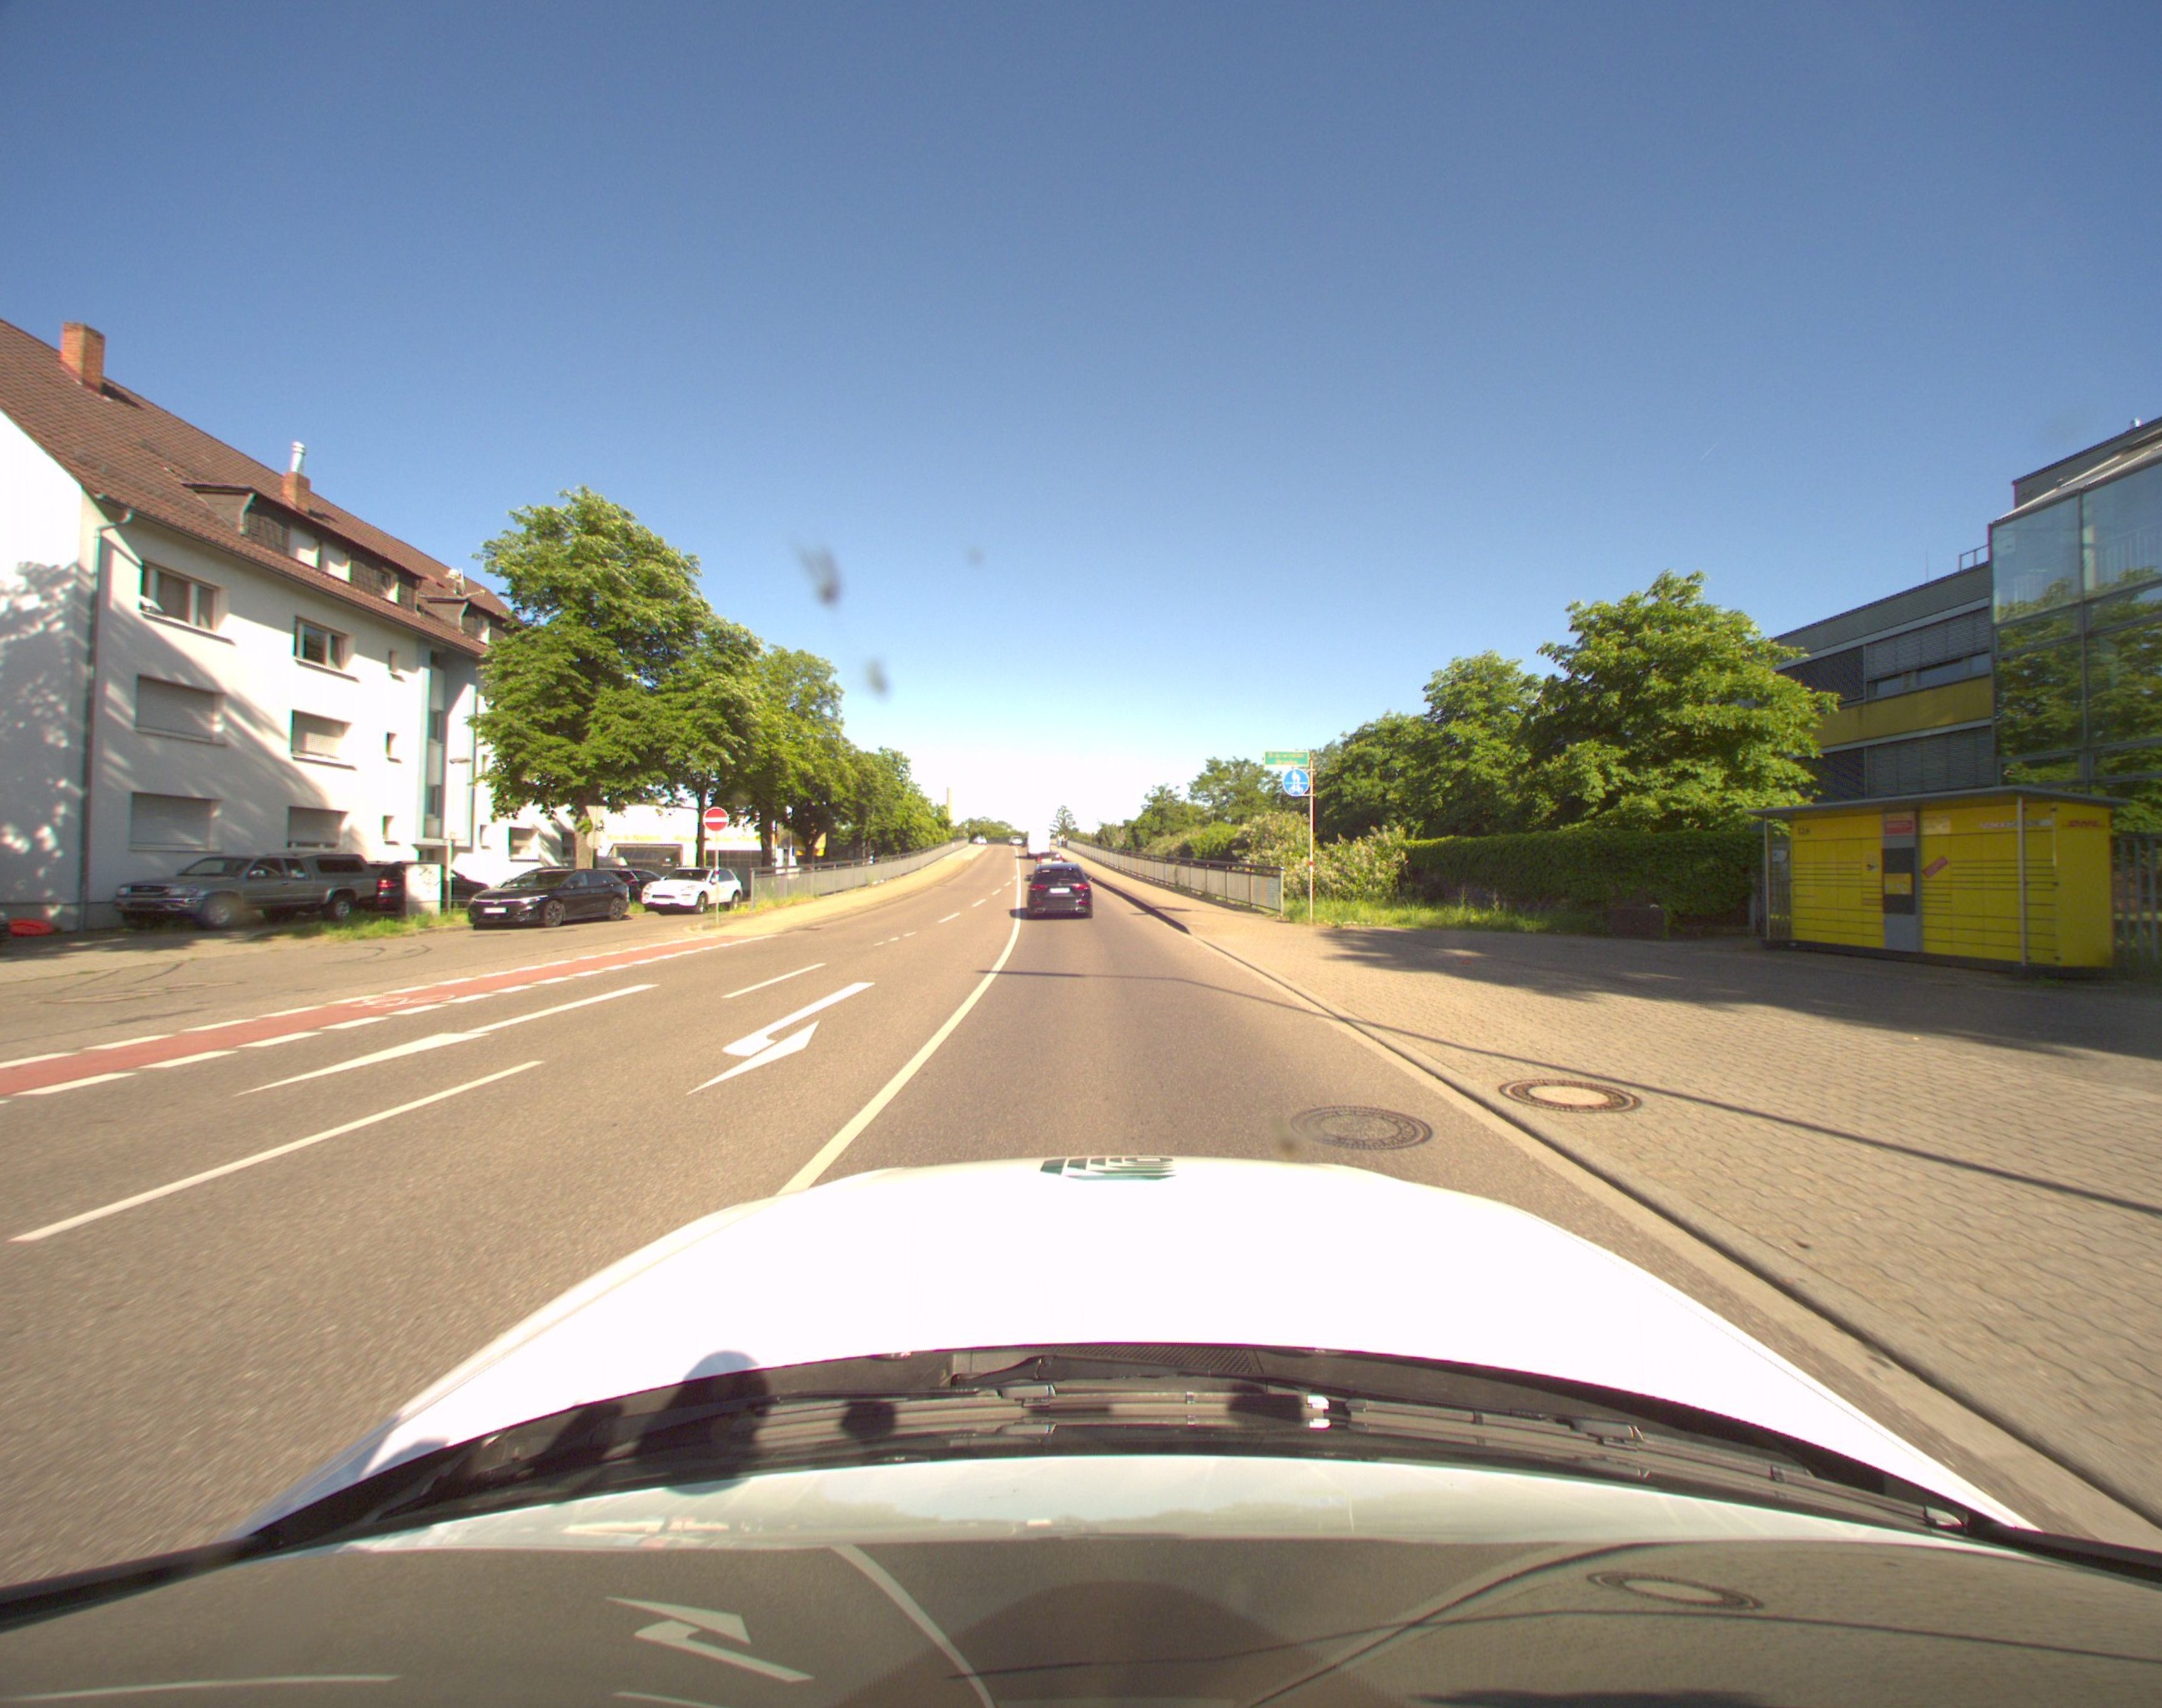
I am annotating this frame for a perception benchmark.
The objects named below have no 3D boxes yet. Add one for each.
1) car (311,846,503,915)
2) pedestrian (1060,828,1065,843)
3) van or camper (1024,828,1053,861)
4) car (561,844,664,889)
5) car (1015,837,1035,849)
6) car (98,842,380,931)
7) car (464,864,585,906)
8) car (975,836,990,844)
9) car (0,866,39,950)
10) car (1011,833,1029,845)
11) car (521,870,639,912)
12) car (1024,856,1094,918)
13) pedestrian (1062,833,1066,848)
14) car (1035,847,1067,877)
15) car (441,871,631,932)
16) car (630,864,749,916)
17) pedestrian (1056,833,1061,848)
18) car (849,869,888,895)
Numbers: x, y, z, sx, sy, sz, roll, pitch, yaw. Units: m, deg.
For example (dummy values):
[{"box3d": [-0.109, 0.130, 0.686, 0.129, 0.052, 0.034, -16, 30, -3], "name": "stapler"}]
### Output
[{"box3d": [-20.724, 0.805, 25.391, 2.065, 1.930, 4.781, 1, -1, -3], "name": "car"}, {"box3d": [-2.228, -2.280, 99.469, 0.548, 1.750, 0.737, 1, -1, -5], "name": "pedestrian"}, {"box3d": [-3.911, -0.785, 73.595, 2.224, 2.739, 7.063, 1, -1, -6], "name": "van or camper"}, {"box3d": [-28.081, 0.734, 49.133, 2.117, 2.561, 5.905, -1, -1, 9], "name": "car"}, {"box3d": [-7.635, -1.542, 112.250, 1.908, 1.489, 4.279, -1, -2, 8], "name": "car"}, {"box3d": [-20.515, 0.754, 20.282, 1.742, 1.930, 5.099, 0, -1, -1], "name": "car"}, {"box3d": [-21.355, 1.184, 31.446, 3.680, 1.510, 1.768, 1, -1, -30], "name": "car"}, {"box3d": [-19.033, -2.665, 157.314, 1.884, 1.544, 3.971, 1, -1, -22], "name": "car"}, {"box3d": [-20.363, 0.878, 13.222, 3.983, 1.429, 1.903, 1, -2, -7], "name": "car"}, {"box3d": [-9.675, -2.352, 129.414, 1.983, 1.680, 4.006, -1, -2, 6], "name": "car"}, {"box3d": [-21.123, 1.531, 34.513, 4.005, 1.598, 1.984, 0, 0, -24], "name": "car"}, {"box3d": [-0.540, 0.855, 23.269, 1.763, 1.592, 3.990, 0, 0, 1], "name": "car"}, {"box3d": [-2.083, -1.653, 98.710, 0.471, 1.750, 0.653, 1, -1, -5], "name": "pedestrian"}, {"box3d": [-1.719, 0.502, 47.689, 1.799, 1.640, 3.997, 1, -2, -1], "name": "car"}, {"box3d": [-14.592, 1.202, 22.256, 2.033, 1.464, 4.955, 0, -1, -3], "name": "car"}, {"box3d": [-14.397, 1.286, 30.349, 2.032, 1.729, 5.231, 1, -1, -2], "name": "car"}, {"box3d": [-2.731, -1.665, 98.654, 0.601, 1.750, 0.715, 1, -1, -5], "name": "pedestrian"}, {"box3d": [-17.008, 2.208, 65.314, 1.917, 1.991, 4.257, 1, -1, 0], "name": "car"}]
